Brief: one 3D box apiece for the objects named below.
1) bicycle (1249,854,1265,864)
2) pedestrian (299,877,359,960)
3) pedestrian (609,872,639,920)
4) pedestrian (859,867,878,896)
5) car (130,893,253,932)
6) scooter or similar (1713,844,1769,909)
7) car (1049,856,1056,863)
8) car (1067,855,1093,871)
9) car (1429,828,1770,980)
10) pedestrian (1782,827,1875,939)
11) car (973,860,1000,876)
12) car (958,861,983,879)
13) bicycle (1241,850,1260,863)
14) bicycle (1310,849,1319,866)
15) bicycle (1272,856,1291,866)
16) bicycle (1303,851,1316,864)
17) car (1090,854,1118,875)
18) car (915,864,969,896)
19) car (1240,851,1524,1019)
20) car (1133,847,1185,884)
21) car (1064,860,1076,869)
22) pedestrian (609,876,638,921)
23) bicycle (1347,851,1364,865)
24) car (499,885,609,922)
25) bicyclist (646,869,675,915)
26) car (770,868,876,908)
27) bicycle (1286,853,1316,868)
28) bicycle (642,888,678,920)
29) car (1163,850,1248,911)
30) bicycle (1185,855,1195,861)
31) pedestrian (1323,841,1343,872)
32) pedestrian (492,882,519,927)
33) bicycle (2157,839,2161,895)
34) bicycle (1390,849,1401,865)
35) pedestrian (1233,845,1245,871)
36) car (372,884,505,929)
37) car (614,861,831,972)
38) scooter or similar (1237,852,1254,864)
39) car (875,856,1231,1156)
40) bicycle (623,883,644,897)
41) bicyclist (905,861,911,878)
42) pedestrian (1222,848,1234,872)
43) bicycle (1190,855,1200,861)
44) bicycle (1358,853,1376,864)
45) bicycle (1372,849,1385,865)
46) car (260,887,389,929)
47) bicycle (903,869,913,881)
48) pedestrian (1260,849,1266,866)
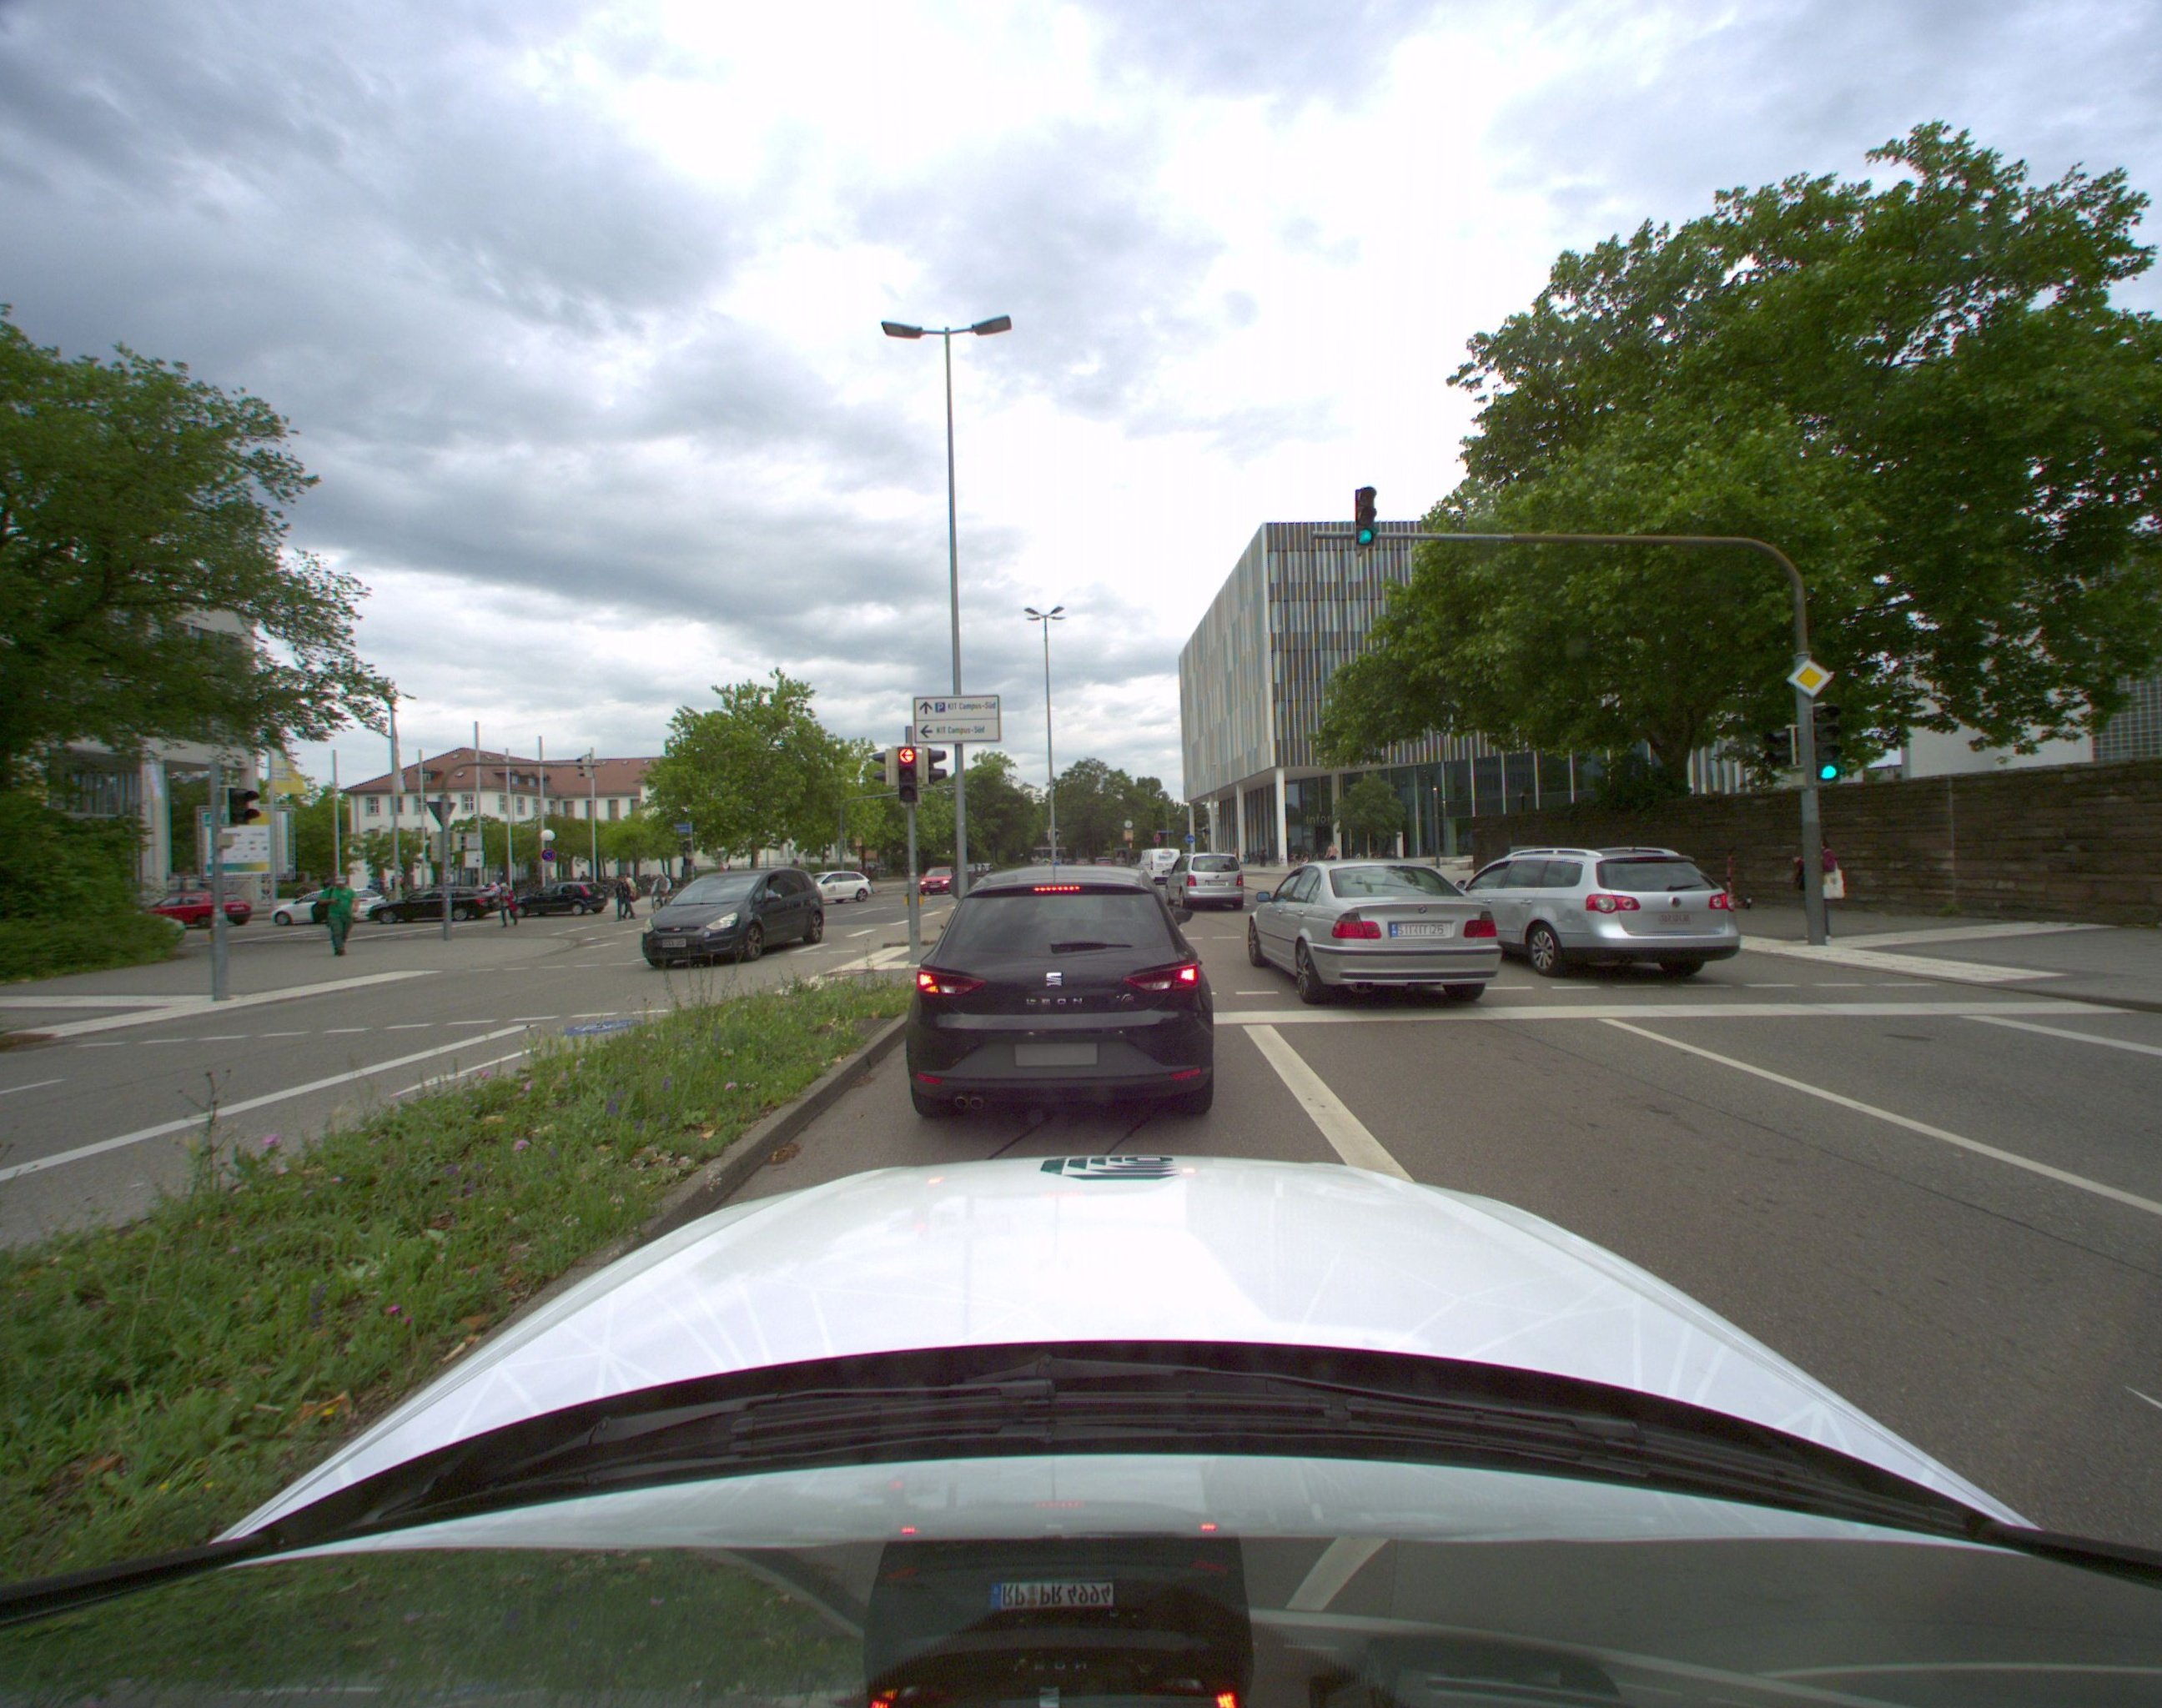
[{"bbox_3d":[16.394,0.472,75.786,1.445,0.857,0.362,-4,0,-25],"label":"bicycle"},{"bbox_3d":[-16.640,1.390,18.050,0.948,1.759,0.865,0,-2,-42],"label":"pedestrian"},{"bbox_3d":[-17.071,1.577,30.444,0.843,1.740,0.824,-2,-5,-22],"label":"pedestrian"},{"bbox_3d":[-12.097,1.571,46.414,0.873,1.586,0.542,-3,0,-5],"label":"pedestrian"},{"bbox_3d":[-38.195,2.486,35.026,3.341,1.479,1.559,-1,0,-5],"label":"car"},{"bbox_3d":[13.086,0.418,16.189,0.428,1.179,1.714,-4,0,26],"label":"scooter or similar"},{"bbox_3d":[-7.252,1.407,207.102,1.692,1.503,4.003,-4,0,-5],"label":"car"},{"bbox_3d":[-0.137,0.985,91.614,1.916,1.664,4.096,-4,0,-13],"label":"car"},{"bbox_3d":[6.295,0.567,10.659,1.817,1.551,4.531,0,-1,4],"label":"car"},{"bbox_3d":[11.102,0.418,12.112,0.657,1.561,0.636,-6,0,1],"label":"pedestrian"},{"bbox_3d":[-11.231,1.630,96.835,1.746,1.587,4.016,-3,0,15],"label":"car"},{"bbox_3d":[-11.702,1.649,86.782,1.899,1.717,4.002,-3,0,2],"label":"car"},{"bbox_3d":[16.167,0.235,77.532,1.785,1.211,0.564,-4,0,-32],"label":"bicycle"},{"bbox_3d":[18.397,0.256,64.129,0.522,1.253,1.674,-3,0,20],"label":"bicycle"},{"bbox_3d":[17.093,0.564,69.448,1.475,0.748,0.566,-4,0,-2],"label":"bicycle"},{"bbox_3d":[18.784,0.283,66.915,0.614,1.045,1.716,-3,0,28],"label":"bicycle"},{"bbox_3d":[1.908,0.836,68.368,1.946,1.624,3.742,-1,1,-6],"label":"car"},{"bbox_3d":[-7.215,1.315,42.725,1.706,1.418,4.299,-3,0,4],"label":"car"},{"bbox_3d":[3.027,0.699,9.193,1.716,1.414,4.247,-1,0,1],"label":"car"},{"bbox_3d":[4.397,0.618,46.692,1.965,1.972,4.331,0,0,-8],"label":"car"},{"bbox_3d":[-1.947,1.844,141.062,1.894,1.354,3.880,-4,0,-2],"label":"car"},{"bbox_3d":[-16.290,1.592,28.981,0.792,1.558,0.694,-1,-4,-22],"label":"pedestrian"},{"bbox_3d":[20.557,0.298,61.013,0.688,0.946,1.997,-3,0,32],"label":"bicycle"},{"bbox_3d":[-23.221,2.172,35.971,3.649,1.223,1.562,-2,7,-5],"label":"car"},{"bbox_3d":[-15.179,1.368,29.420,0.666,1.635,0.958,-1,-1,-10],"label":"bicyclist"},{"bbox_3d":[-11.366,1.487,36.120,1.688,1.431,4.255,-3,0,34],"label":"car"},{"bbox_3d":[15.099,0.465,56.003,1.892,0.898,0.693,-4,0,-20],"label":"bicycle"},{"bbox_3d":[-15.175,1.790,29.391,0.666,1.062,1.613,-1,-1,-10],"label":"bicycle"},{"bbox_3d":[3.543,0.718,23.880,1.725,1.603,4.102,-1,0,-2],"label":"car"},{"bbox_3d":[14.527,0.552,108.843,1.262,0.848,0.479,1,-1,-21],"label":"bicycle"},{"bbox_3d":[14.518,0.136,46.952,0.844,1.765,0.768,-3,0,1],"label":"pedestrian"},{"bbox_3d":[-20.306,1.798,28.746,0.572,1.526,0.842,-2,-5,-22],"label":"pedestrian"},{"bbox_3d":[13.552,0.375,8.931,0.801,1.174,1.952,-5,0,-3],"label":"bicycle"},{"bbox_3d":[22.529,0.184,58.311,0.616,1.056,1.959,-3,0,21],"label":"bicycle"},{"bbox_3d":[10.966,0.293,56.526,0.684,1.781,0.677,-2,0,1],"label":"pedestrian"},{"bbox_3d":[-27.579,2.222,35.094,4.059,1.452,1.615,-3,5,-16],"label":"car"},{"bbox_3d":[-6.492,1.036,15.401,1.913,1.664,4.400,-4,-1,2],"label":"car"},{"bbox_3d":[15.782,0.372,78.118,1.682,1.106,0.494,-4,0,-30],"label":"scooter or similar"},{"bbox_3d":[-0.008,0.758,5.901,1.745,1.432,3.773,-1,0,4],"label":"car"},{"bbox_3d":[-30.906,2.458,56.207,1.211,0.880,0.262,-4,0,-22],"label":"bicycle"},{"bbox_3d":[-16.744,1.503,78.795,0.489,1.624,0.588,0,1,1],"label":"bicyclist"},{"bbox_3d":[10.194,0.431,56.417,0.684,1.640,0.633,-1,0,1],"label":"pedestrian"},{"bbox_3d":[14.970,0.528,106.722,1.239,0.823,0.479,0,-1,-21],"label":"bicycle"},{"bbox_3d":[21.178,0.341,60.312,1.535,0.716,0.513,-4,0,-42],"label":"bicycle"},{"bbox_3d":[21.650,0.210,59.258,0.802,1.056,1.959,-3,0,21],"label":"bicycle"},{"bbox_3d":[-32.993,2.338,35.581,3.868,1.539,1.684,-2,2,-2],"label":"car"},{"bbox_3d":[-16.741,2.021,78.809,0.486,1.005,1.590,-1,1,2],"label":"bicycle"},{"bbox_3d":[15.314,0.315,68.533,0.469,1.361,0.447,-3,0,12],"label":"pedestrian"}]
